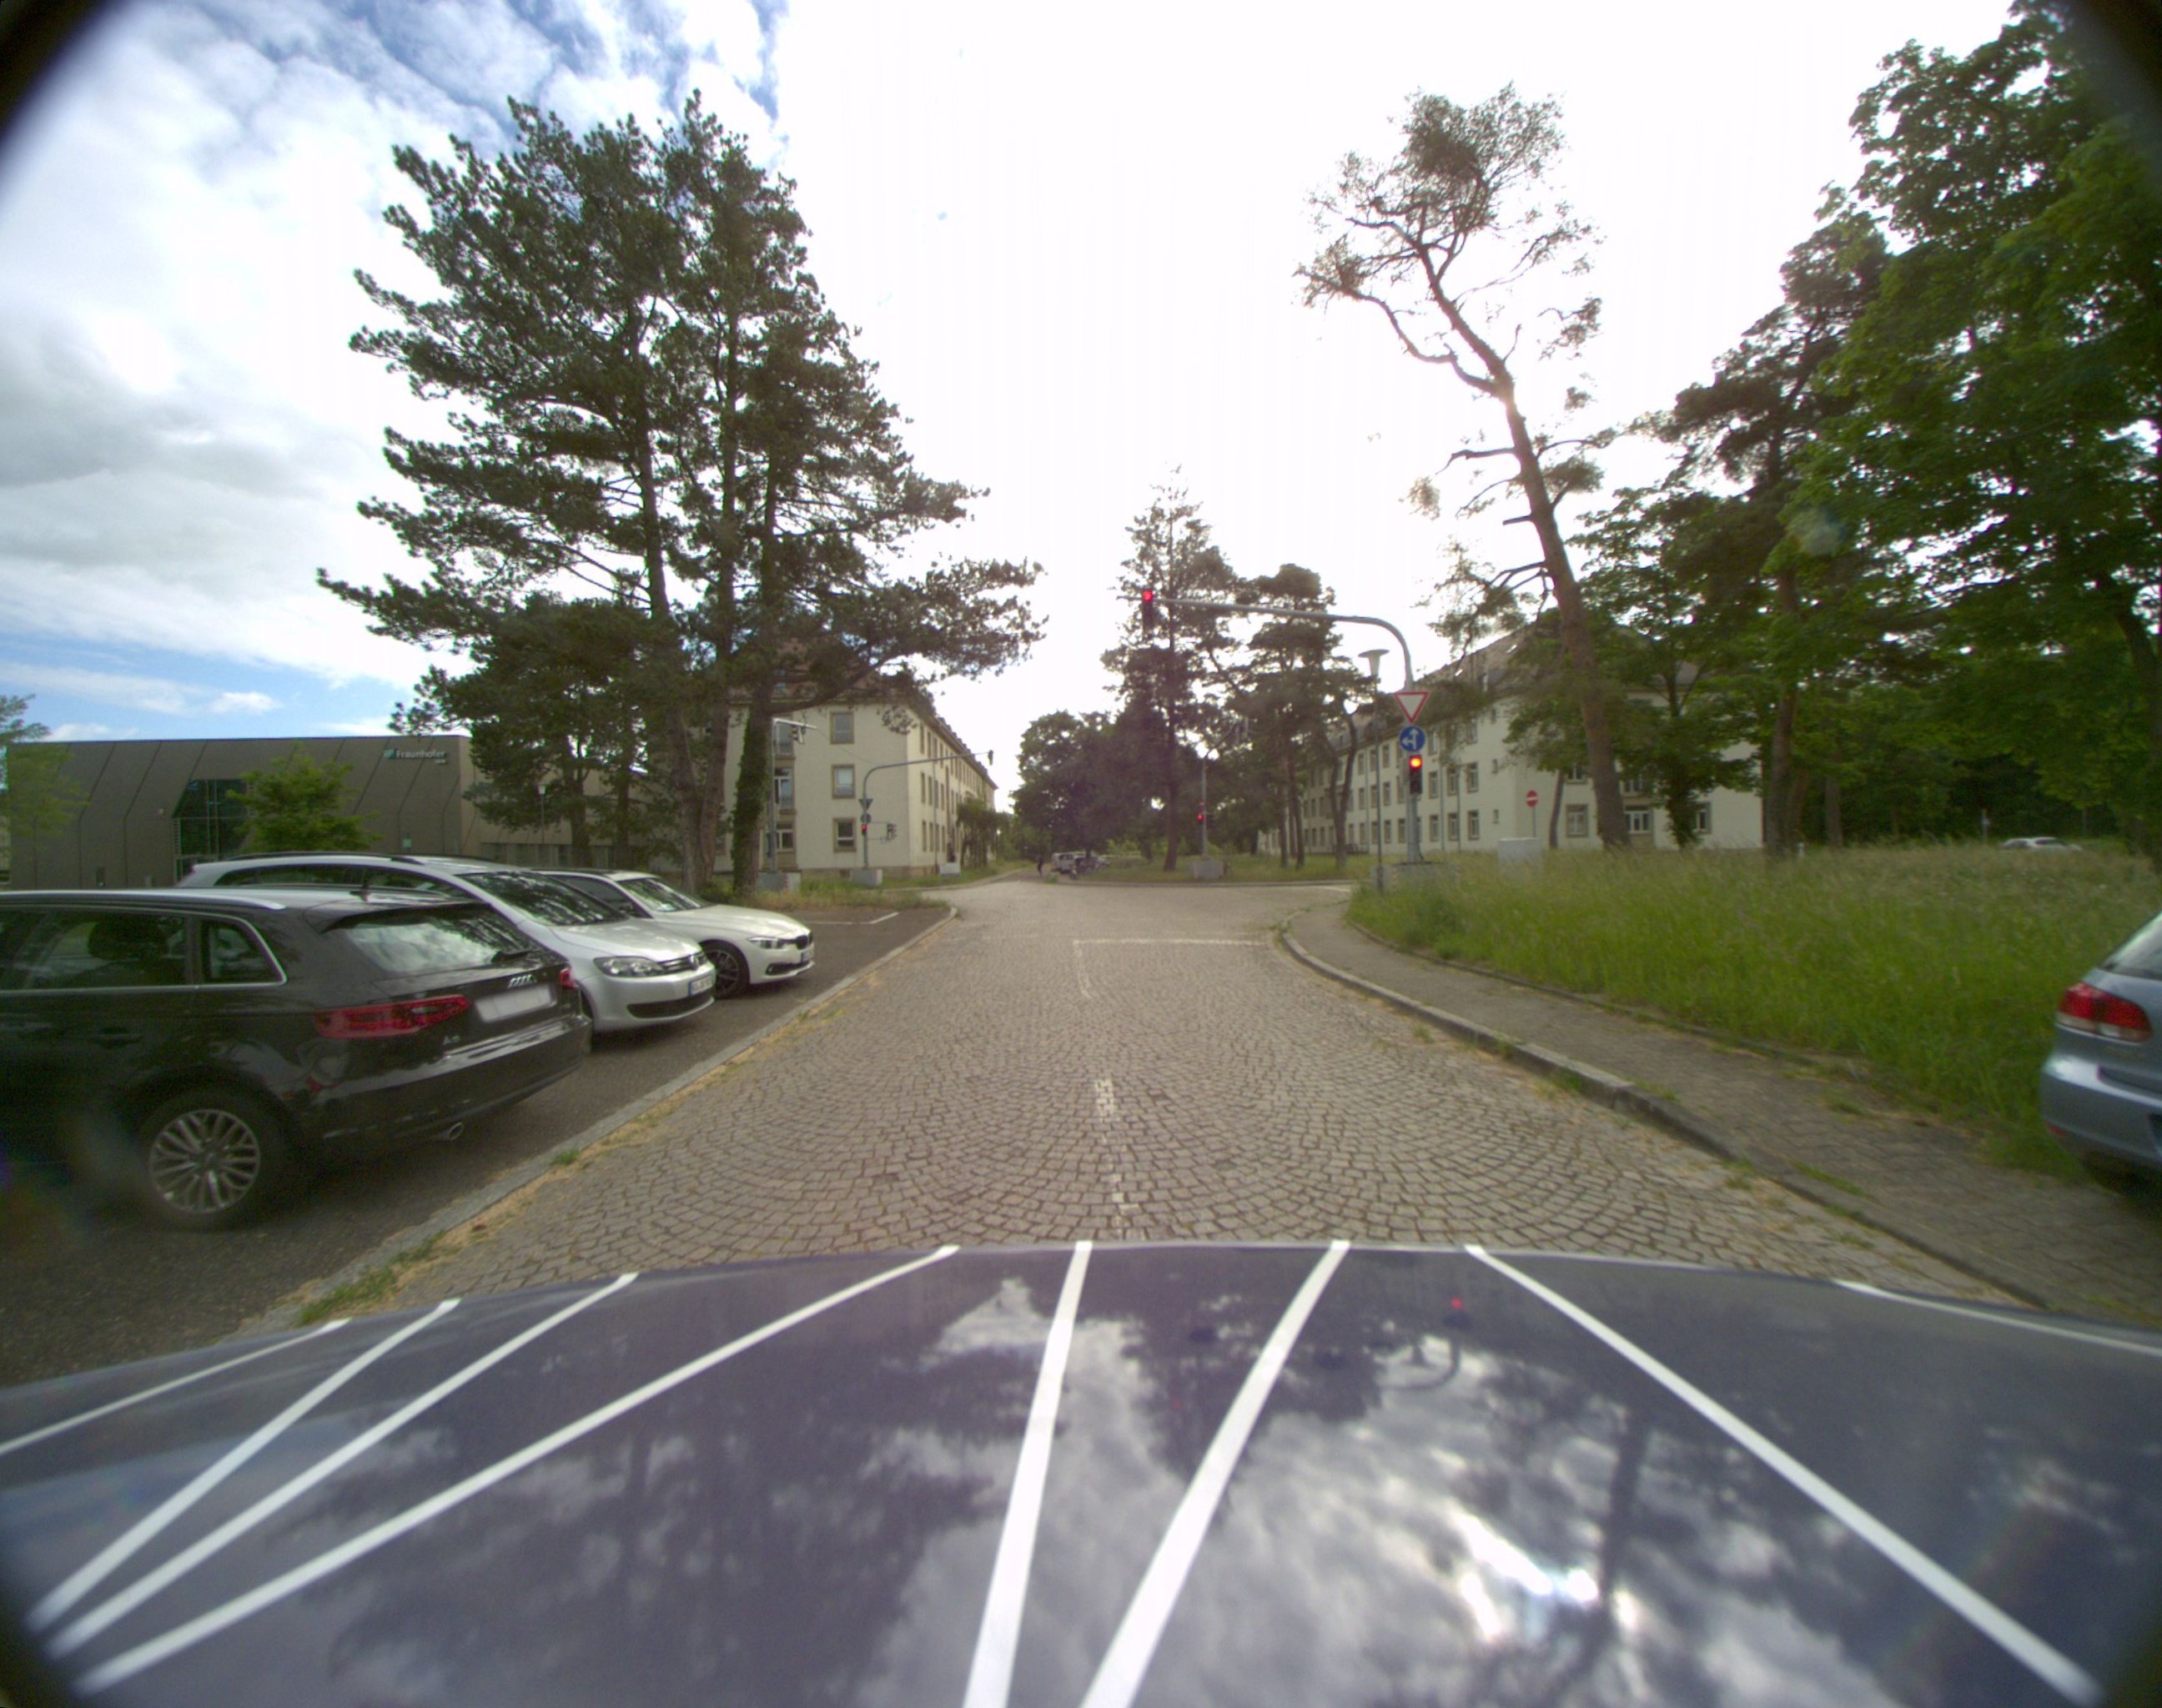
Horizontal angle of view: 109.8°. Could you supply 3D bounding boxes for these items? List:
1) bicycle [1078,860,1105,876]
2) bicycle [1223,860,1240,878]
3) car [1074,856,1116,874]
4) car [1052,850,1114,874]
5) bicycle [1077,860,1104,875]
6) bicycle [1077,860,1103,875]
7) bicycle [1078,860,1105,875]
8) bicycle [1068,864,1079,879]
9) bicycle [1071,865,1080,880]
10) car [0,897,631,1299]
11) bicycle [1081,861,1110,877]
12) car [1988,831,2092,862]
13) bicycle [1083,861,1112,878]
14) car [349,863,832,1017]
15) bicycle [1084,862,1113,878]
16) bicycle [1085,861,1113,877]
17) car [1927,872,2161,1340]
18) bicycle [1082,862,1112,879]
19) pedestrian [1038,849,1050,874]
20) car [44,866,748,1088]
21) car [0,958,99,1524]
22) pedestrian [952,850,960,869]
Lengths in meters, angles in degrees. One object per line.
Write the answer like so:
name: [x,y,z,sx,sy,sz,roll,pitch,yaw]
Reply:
bicycle: [0.780,1.029,55.693,1.951,1.058,0.562,-1,0,-3]
bicycle: [7.641,0.774,38.678,0.294,0.911,1.052,-1,0,-23]
car: [1.202,0.948,65.908,3.440,1.440,1.913,-1,0,-3]
car: [0.134,0.713,69.515,5.367,1.987,2.289,-1,0,-10]
bicycle: [0.710,1.011,57.095,1.951,1.058,0.562,-1,0,-3]
bicycle: [0.701,1.003,57.695,1.951,1.058,0.562,-1,0,-3]
bicycle: [0.772,1.019,56.420,1.951,1.058,0.562,-1,0,-3]
bicycle: [-0.463,1.127,49.470,0.459,0.968,1.663,-1,0,7]
bicycle: [-0.333,1.133,47.651,0.459,0.903,1.663,-1,0,2]
car: [-4.961,1.038,3.926,4.085,1.444,1.884,2,0,-4]
bicycle: [1.020,1.049,53.904,1.951,1.058,0.562,-1,0,-3]
car: [57.702,-0.439,45.759,3.996,1.796,1.722,-1,0,1]
bicycle: [1.113,1.060,51.663,1.951,1.104,0.562,-1,0,-3]
car: [-5.579,0.964,9.181,4.505,1.556,1.904,2,0,-4]
bicycle: [1.181,1.075,52.194,1.951,1.058,0.562,-1,0,-3]
bicycle: [1.250,1.065,52.843,1.951,1.058,0.562,-1,0,-3]
car: [5.624,0.825,2.355,3.998,1.534,1.905,-1,0,-2]
bicycle: [1.073,1.092,51.107,1.899,1.058,0.616,-1,0,-3]
pedestrian: [-2.938,0.616,60.109,0.589,1.926,0.792,-2,1,-35]
car: [-5.458,0.965,6.631,4.252,1.587,1.884,2,0,-5]
car: [-4.906,1.008,1.217,4.085,1.506,1.803,2,0,-4]
pedestrian: [-10.866,0.493,66.241,0.568,1.691,0.532,-1,1,2]
